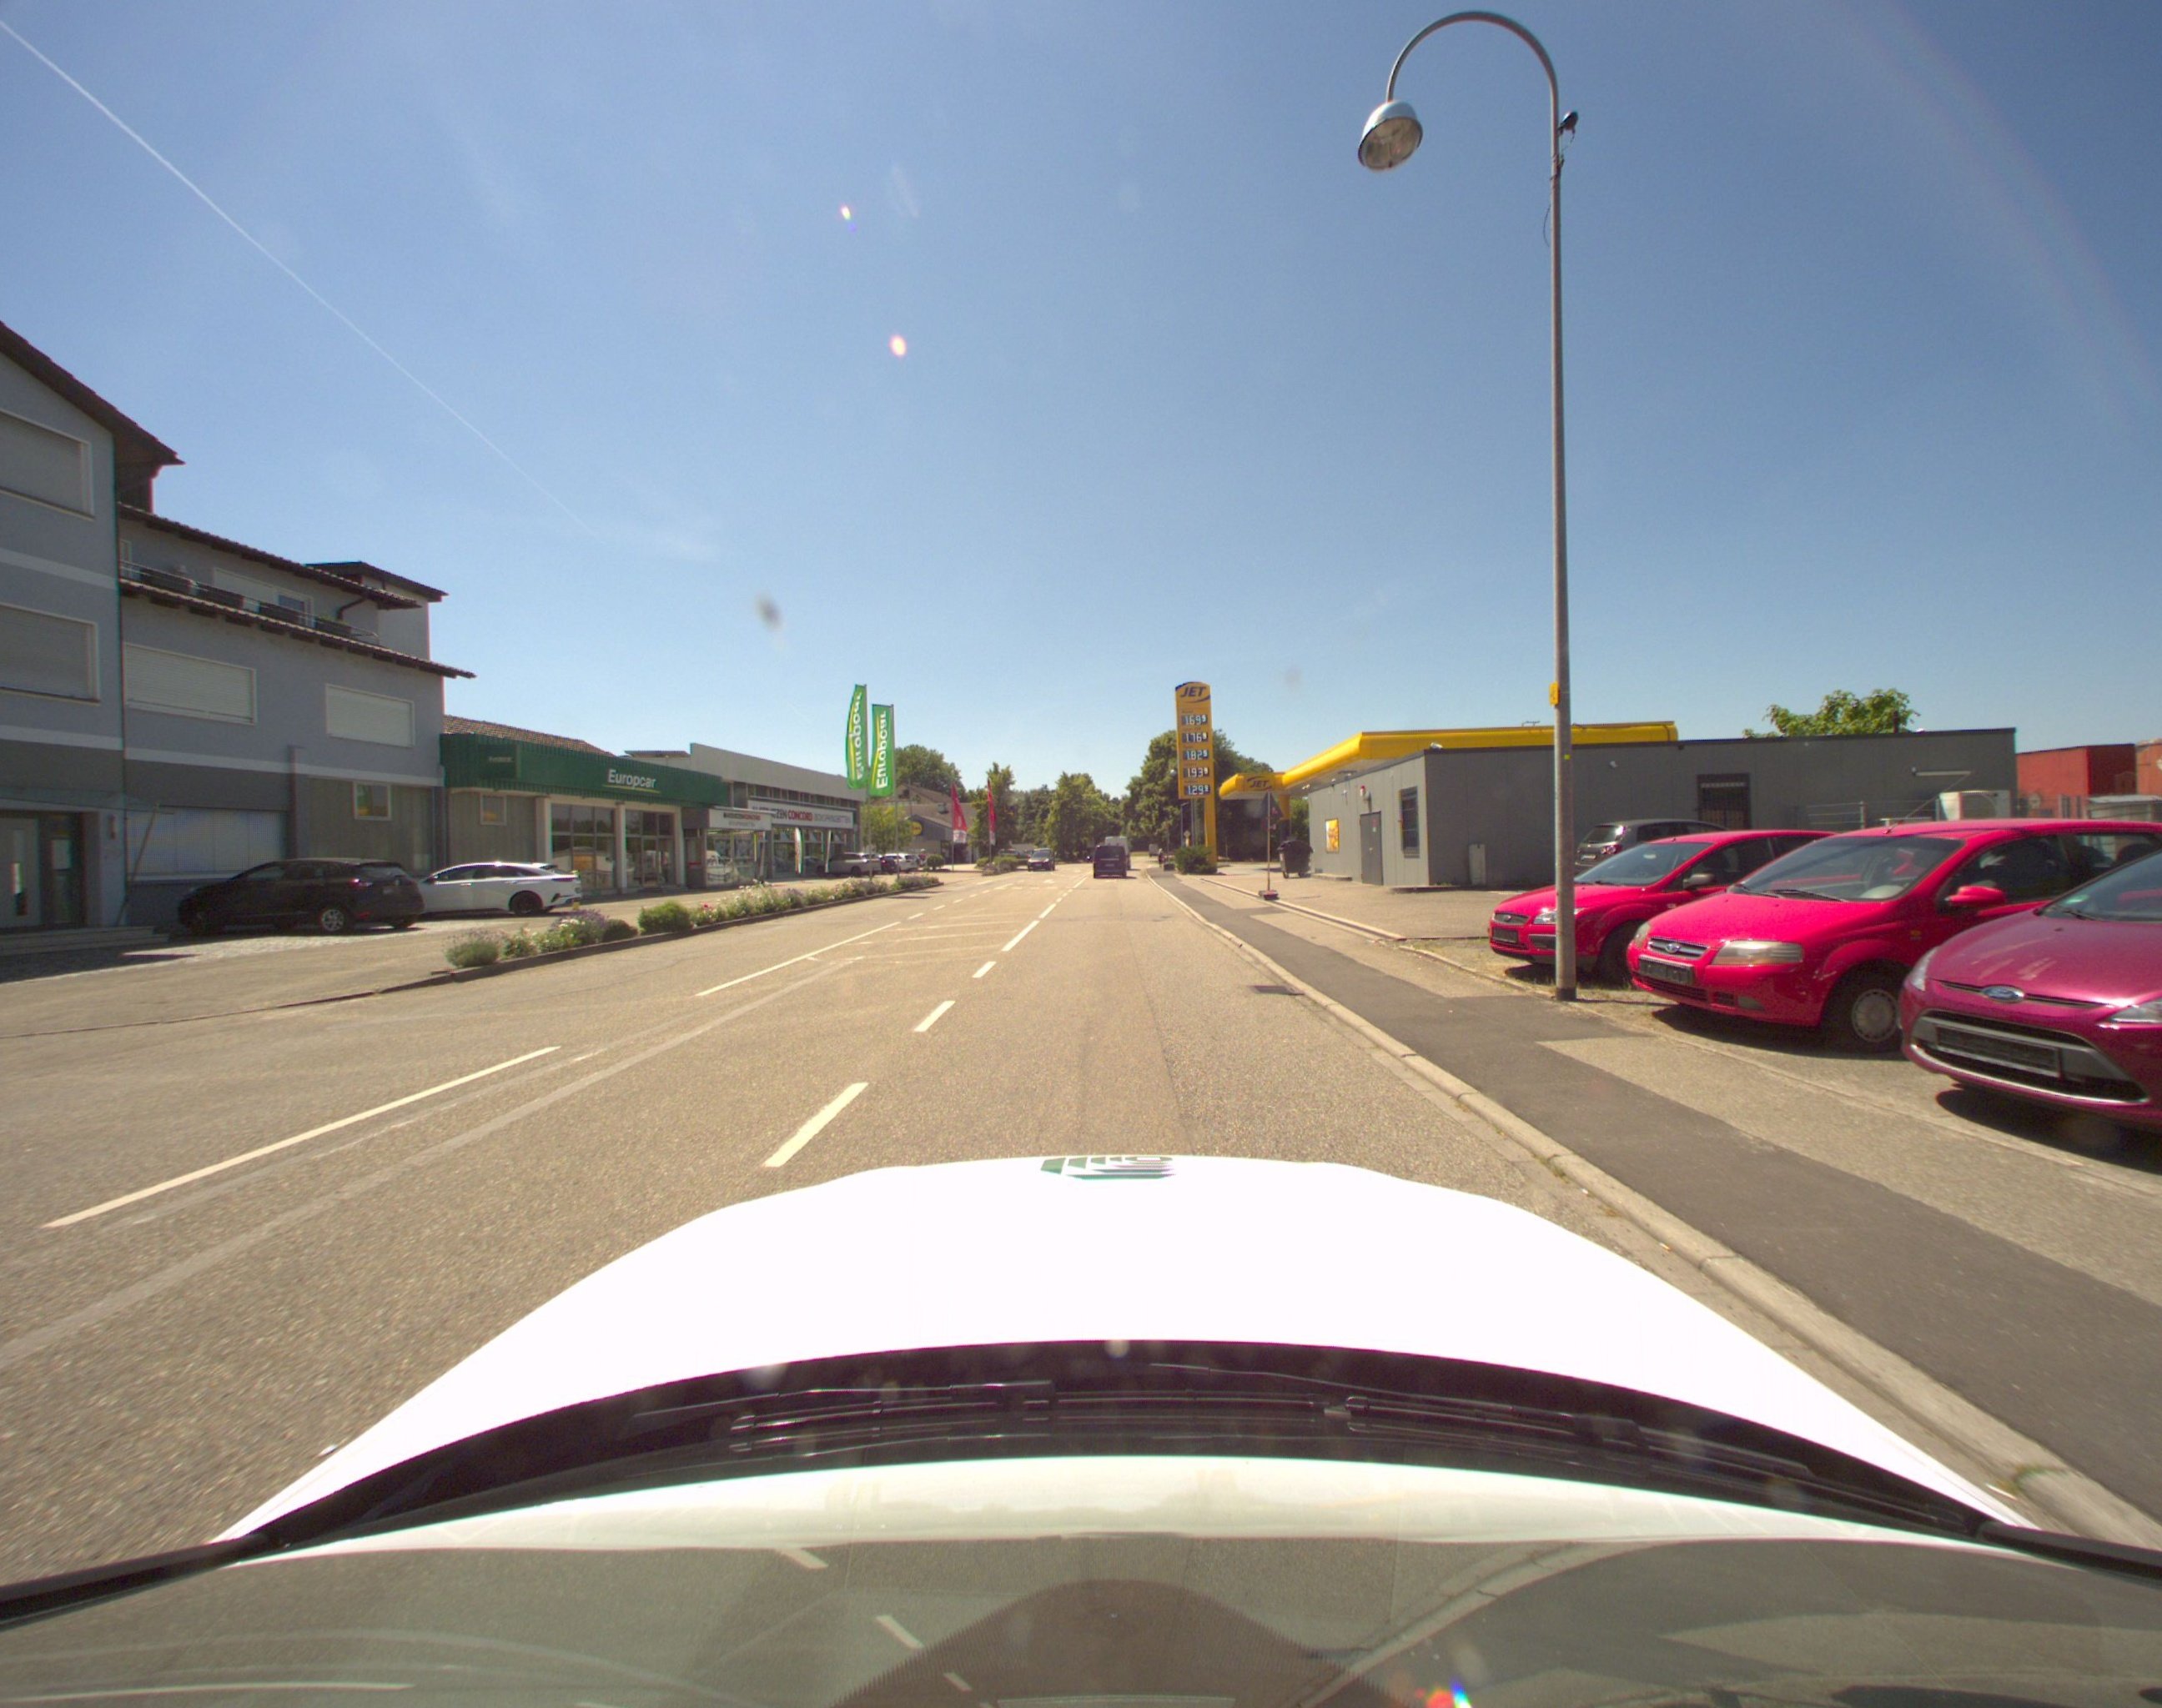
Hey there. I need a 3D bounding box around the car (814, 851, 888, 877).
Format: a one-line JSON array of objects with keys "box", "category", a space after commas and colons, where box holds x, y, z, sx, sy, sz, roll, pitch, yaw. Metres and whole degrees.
[{"box": [-15.668, 0.676, 55.440, 4.492, 1.664, 2.010, -1, 0, 20], "category": "car"}]

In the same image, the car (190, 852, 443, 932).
[{"box": [-16.236, 0.776, 17.443, 3.547, 1.565, 1.970, -1, 0, 1], "category": "car"}]

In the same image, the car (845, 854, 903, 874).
[{"box": [-15.332, 0.736, 60.423, 3.595, 1.475, 2.010, -1, 0, 20], "category": "car"}]

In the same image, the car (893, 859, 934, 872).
[{"box": [-19.293, 1.339, 93.762, 4.295, 1.530, 1.828, 0, -1, 2], "category": "car"}]

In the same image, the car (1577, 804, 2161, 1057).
[{"box": [6.199, 0.485, 6.302, 3.675, 1.566, 1.707, -2, 0, -2], "category": "car"}]

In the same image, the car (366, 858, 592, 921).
[{"box": [-15.504, 0.862, 21.300, 4.356, 1.439, 1.926, -1, 0, -21], "category": "car"}]

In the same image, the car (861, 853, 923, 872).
[{"box": [-14.653, 0.668, 63.201, 4.150, 1.446, 1.989, -1, 0, 18], "category": "car"}]

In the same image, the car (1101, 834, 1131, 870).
[{"box": [2.787, -0.136, 63.402, 2.068, 2.702, 4.673, 1, 0, 5], "category": "car"}]

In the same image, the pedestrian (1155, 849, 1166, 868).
[{"box": [6.164, 0.341, 63.447, 0.764, 1.421, 0.870, -1, -1, 10], "category": "pedestrian"}]

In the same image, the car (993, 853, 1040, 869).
[{"box": [-7.048, 0.801, 89.174, 4.679, 1.762, 2.104, 0, -1, 10], "category": "car"}]

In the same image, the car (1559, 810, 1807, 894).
[{"box": [13.081, -0.031, 17.922, 3.969, 1.657, 1.949, -1, 0, 4], "category": "car"}]

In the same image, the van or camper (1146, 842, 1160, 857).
[{"box": [14.686, -0.885, 167.118, 2.621, 2.929, 5.209, 0, -1, 2], "category": "van or camper"}]

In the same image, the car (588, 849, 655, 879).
[{"box": [-41.261, 0.891, 73.292, 2.270, 2.627, 5.907, 0, -1, 5], "category": "car"}]

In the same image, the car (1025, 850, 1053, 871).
[{"box": [-3.265, 0.507, 63.895, 1.755, 1.527, 4.140, -2, 0, 2], "category": "car"}]

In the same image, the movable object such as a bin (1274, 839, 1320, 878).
[{"box": [8.489, 0.167, 32.059, 1.428, 1.438, 1.468, -3, 0, 2], "category": "movable object such as a bin"}]

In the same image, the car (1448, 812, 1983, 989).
[{"box": [6.509, 0.443, 8.767, 4.210, 1.534, 1.958, -2, 0, 0], "category": "car"}]

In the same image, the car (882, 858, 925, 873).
[{"box": [-19.872, 1.253, 91.425, 4.295, 1.655, 2.115, 0, -1, 2], "category": "car"}]

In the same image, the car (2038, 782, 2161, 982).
[{"box": [11.003, 0.297, 6.745, 4.025, 1.667, 1.783, 2, 0, 1], "category": "car"}]

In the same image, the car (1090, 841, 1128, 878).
[{"box": [1.668, 0.329, 46.514, 1.985, 1.952, 5.009, 1, 0, 3], "category": "car"}]

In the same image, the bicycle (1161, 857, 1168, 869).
[{"box": [6.505, 0.678, 63.492, 0.375, 0.912, 1.603, -1, 0, 11], "category": "bicycle"}]

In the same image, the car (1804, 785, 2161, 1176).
[{"box": [6.131, 0.440, 3.995, 3.675, 1.566, 1.748, -2, 0, -3], "category": "car"}]

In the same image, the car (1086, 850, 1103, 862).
[{"box": [1.786, 0.275, 103.839, 1.924, 1.400, 4.692, 0, -1, 3], "category": "car"}]

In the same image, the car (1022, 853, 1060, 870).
[{"box": [-4.869, 0.938, 99.279, 4.337, 1.980, 1.907, 0, -1, 3], "category": "car"}]
